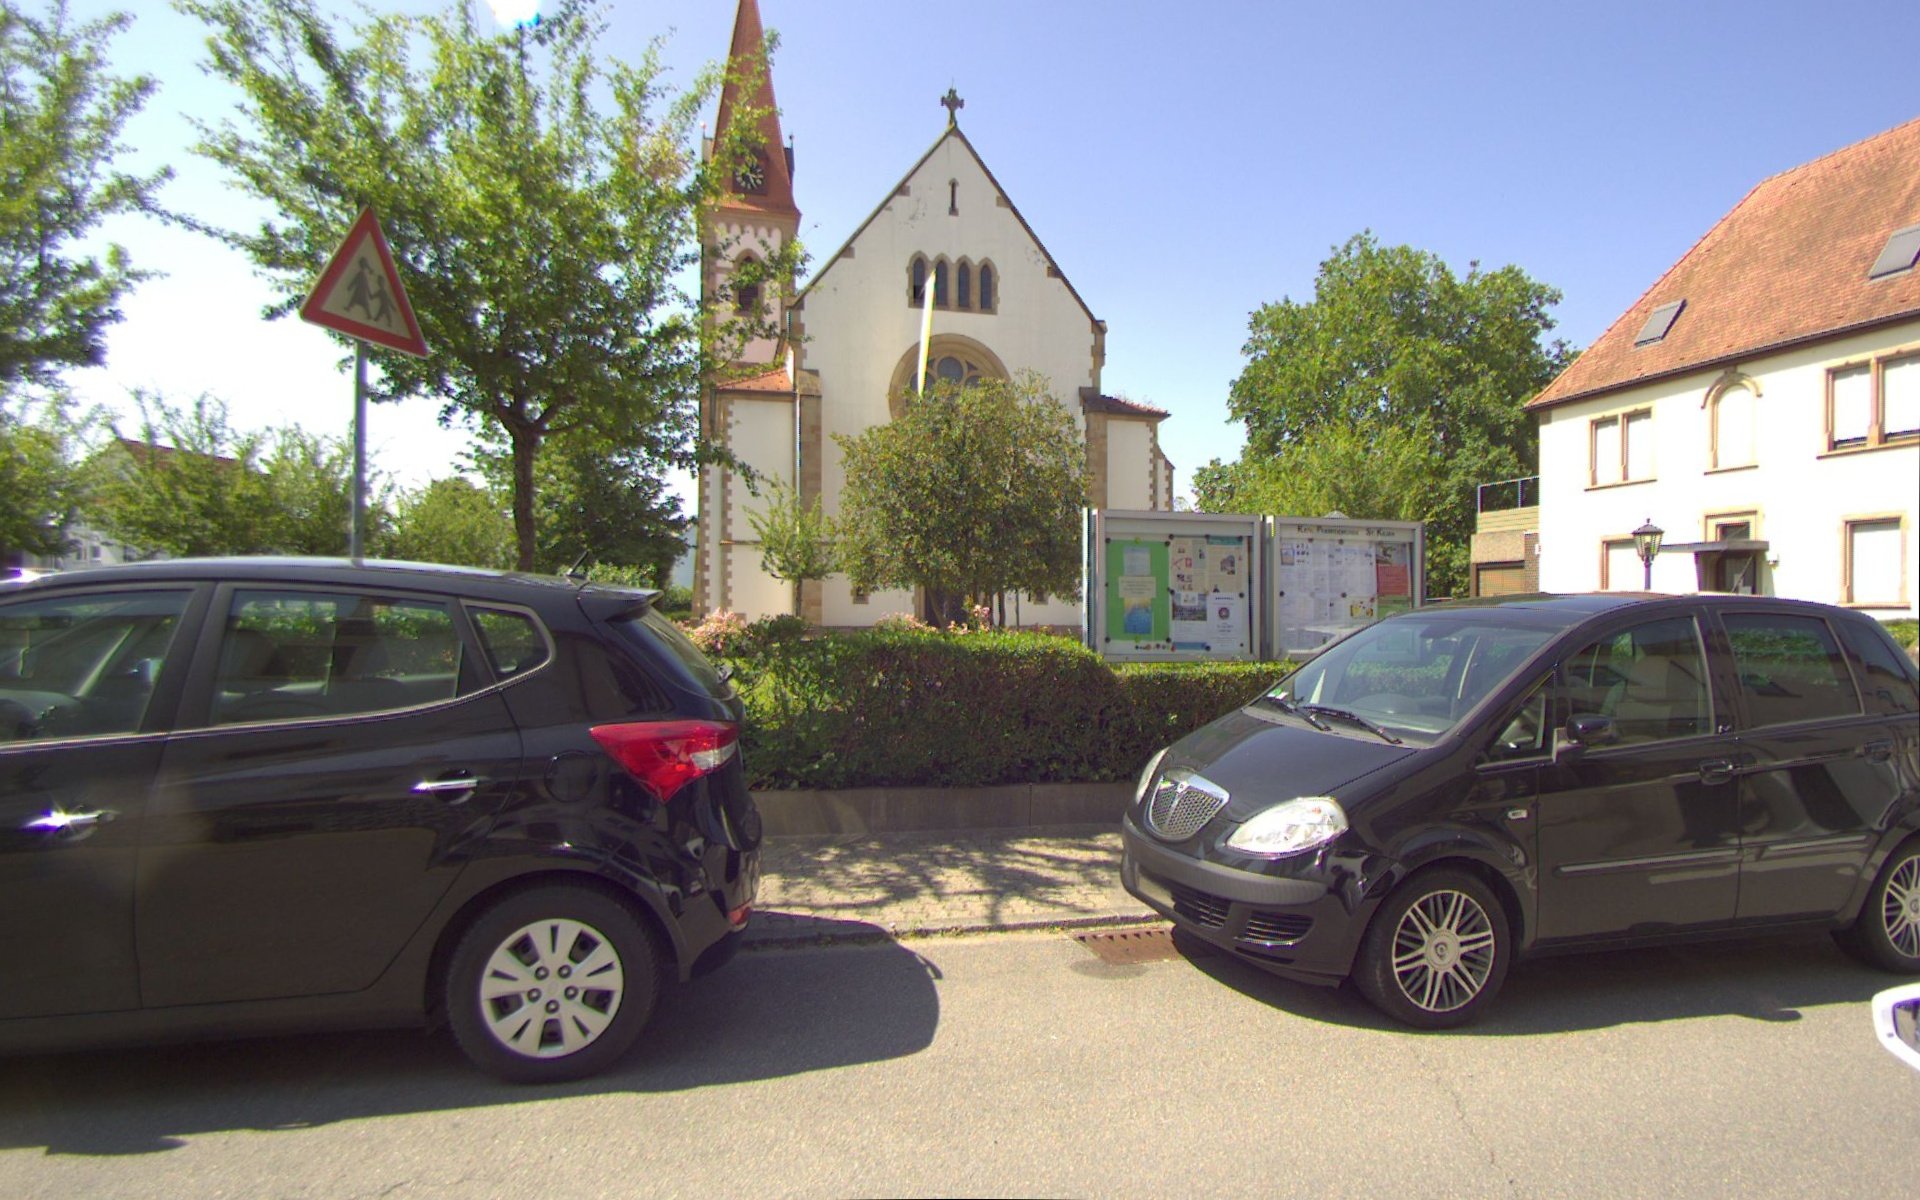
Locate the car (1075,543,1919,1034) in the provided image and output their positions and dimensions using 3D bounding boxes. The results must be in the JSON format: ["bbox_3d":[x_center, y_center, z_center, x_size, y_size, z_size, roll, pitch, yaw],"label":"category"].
[{"bbox_3d":[2.562,0.656,4.667,3.705,1.650,1.638,0,-1,-15],"label":"car"}]

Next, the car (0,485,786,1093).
[{"bbox_3d":[-2.679,0.520,3.598,3.955,1.626,1.817,1,-1,-13],"label":"car"}]
